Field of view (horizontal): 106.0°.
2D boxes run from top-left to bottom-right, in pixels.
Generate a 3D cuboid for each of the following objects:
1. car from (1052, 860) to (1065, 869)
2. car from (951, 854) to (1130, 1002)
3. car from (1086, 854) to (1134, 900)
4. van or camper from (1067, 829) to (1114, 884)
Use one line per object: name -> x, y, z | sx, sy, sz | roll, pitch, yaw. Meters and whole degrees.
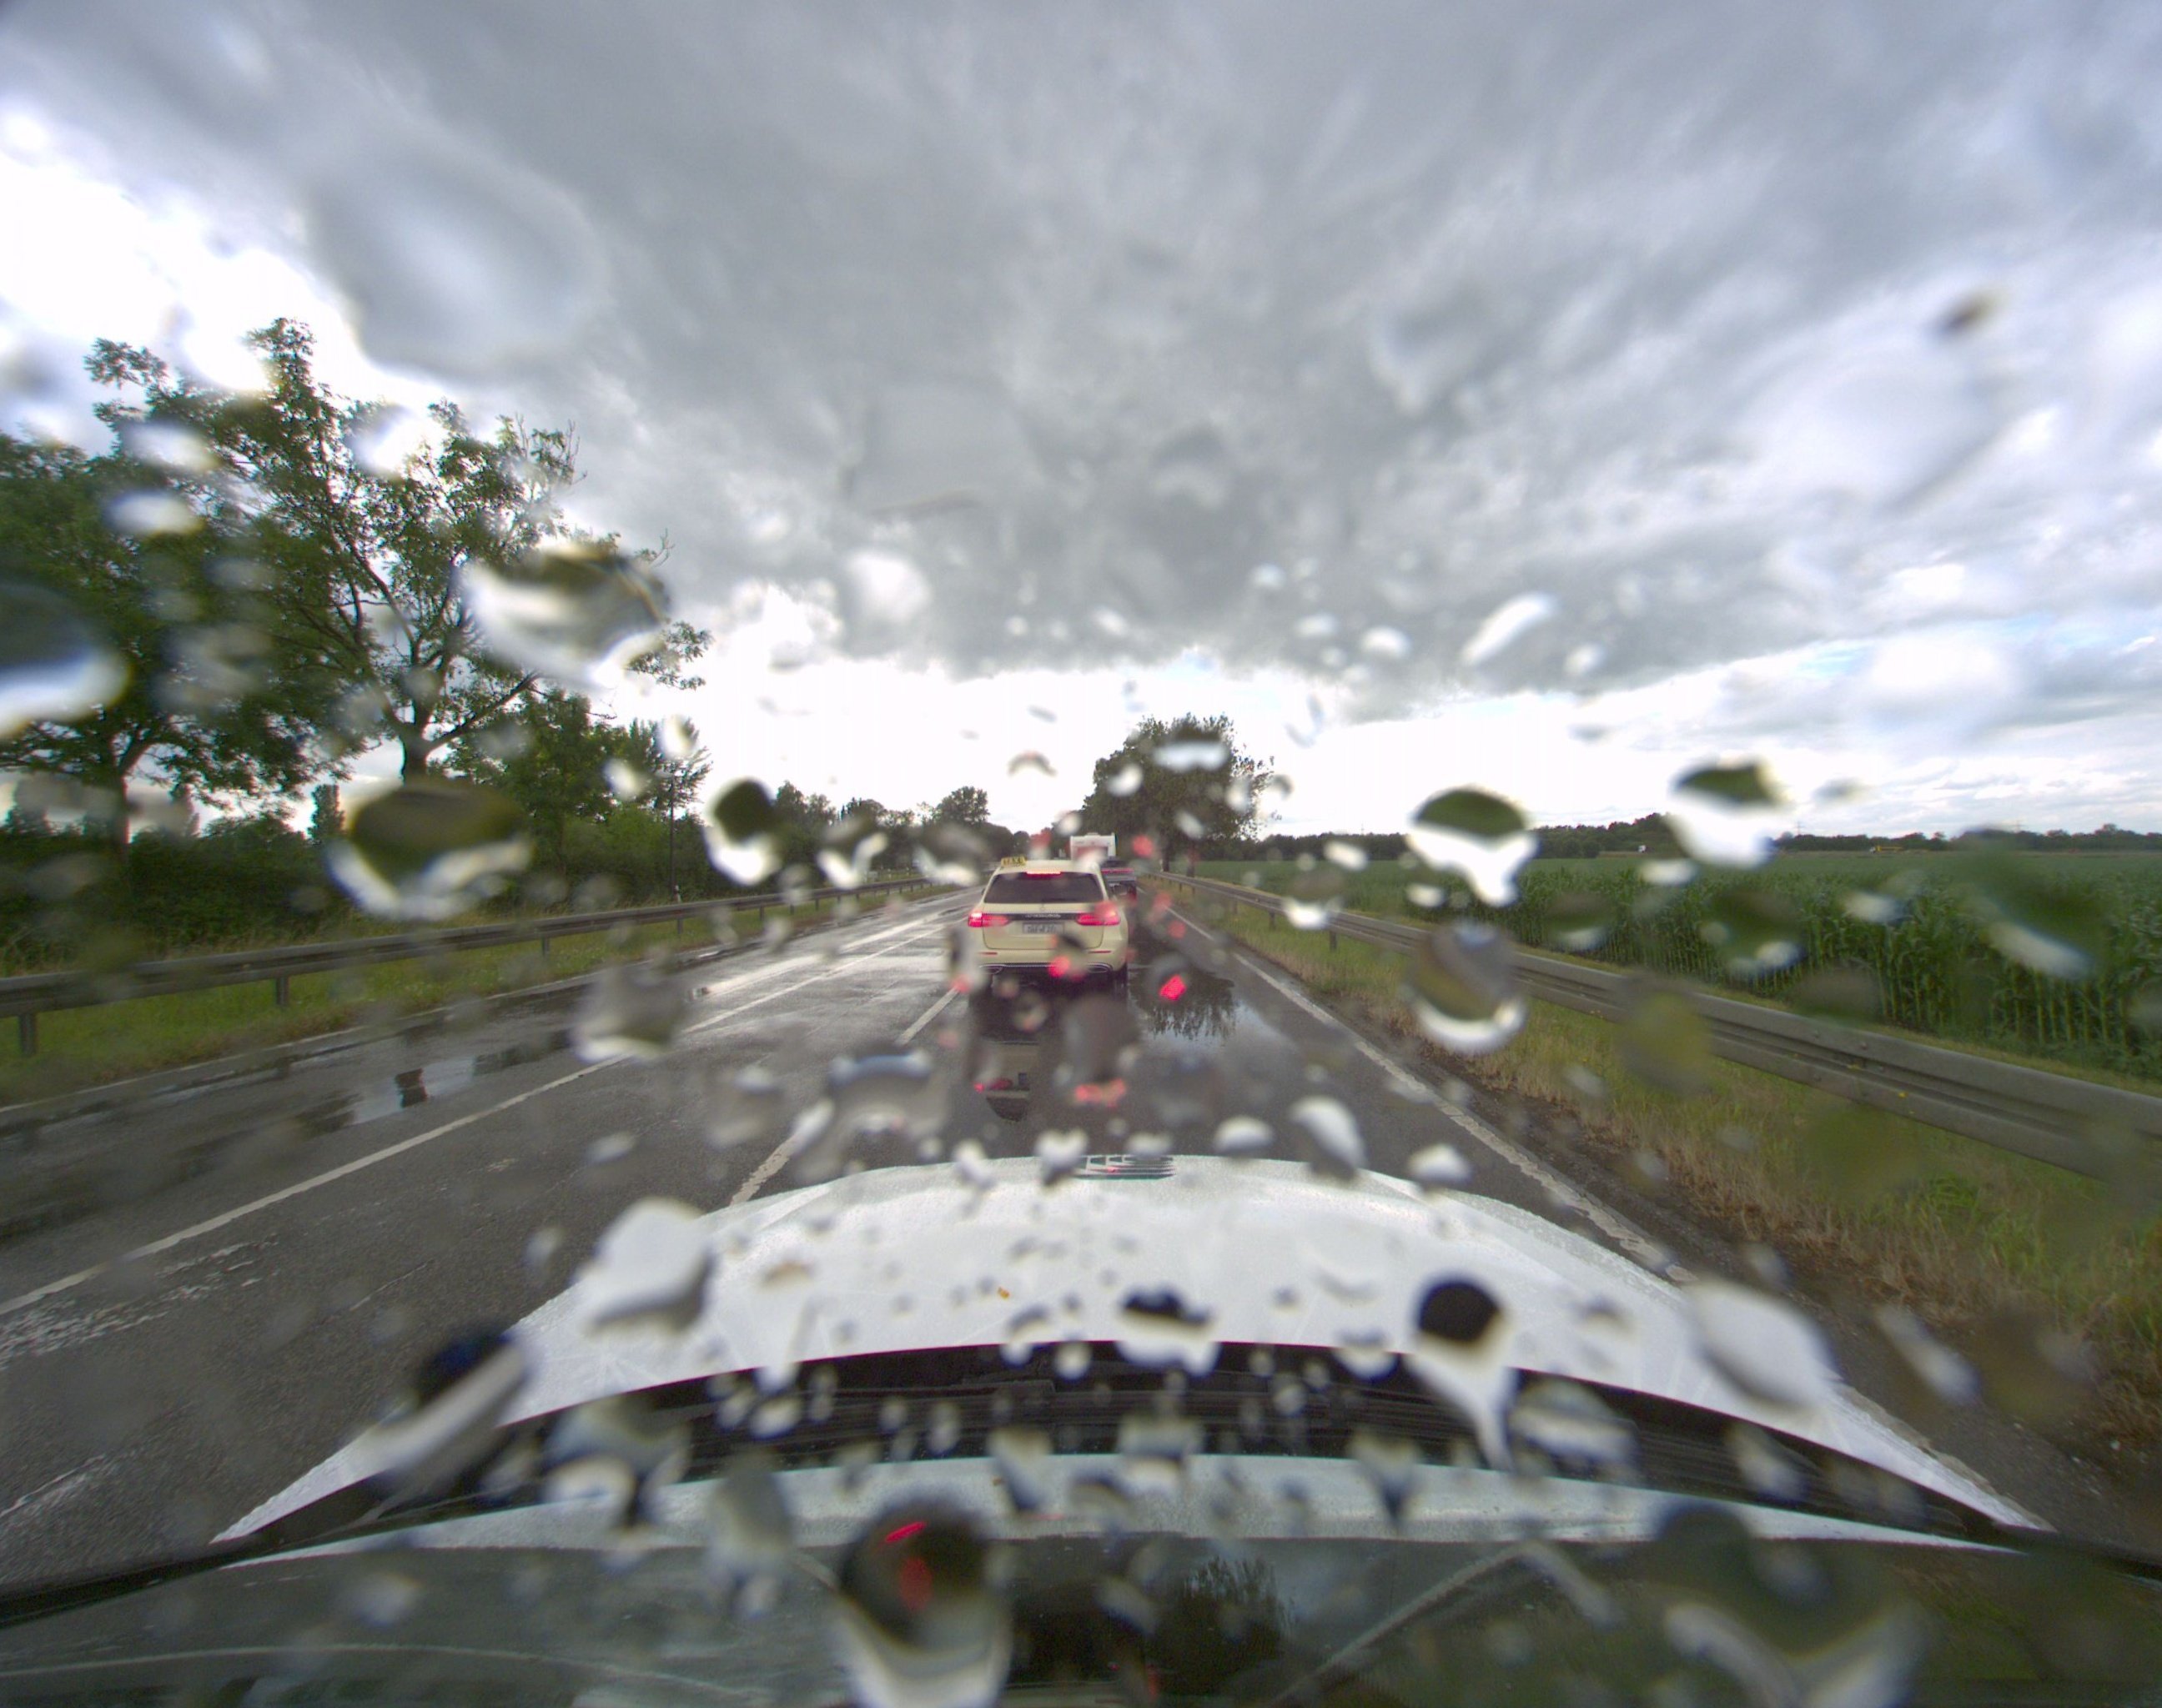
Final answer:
car -> -3.334, 1.592, 120.978 | 1.752, 1.269, 4.001 | -1, 0, 2
car -> -0.313, 0.766, 10.419 | 1.817, 1.485, 4.148 | -1, 0, 3
car -> 1.039, 0.794, 29.611 | 1.621, 1.529, 3.934 | -1, 0, 2
van or camper -> 0.560, 0.120, 43.073 | 2.342, 2.680, 5.770 | -1, 0, 2
